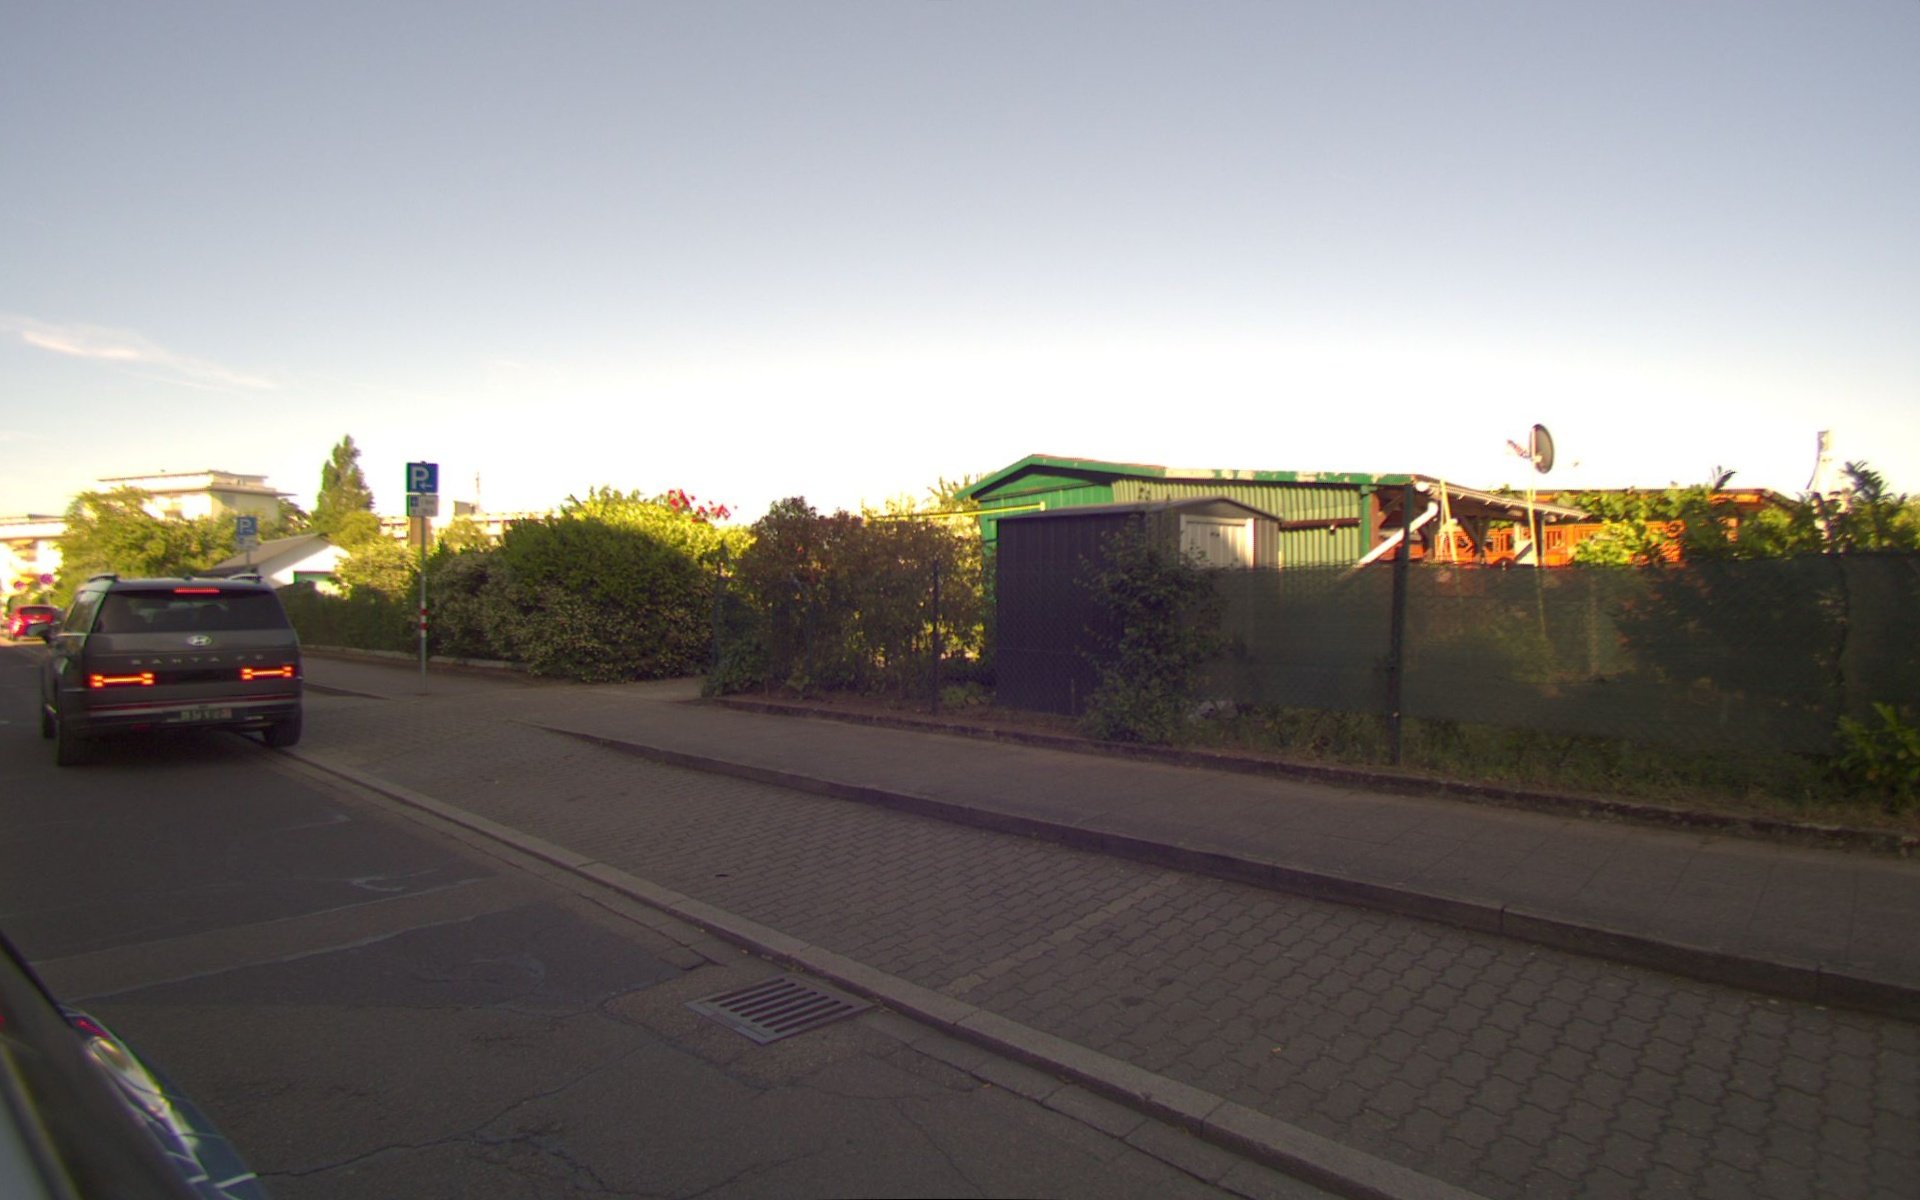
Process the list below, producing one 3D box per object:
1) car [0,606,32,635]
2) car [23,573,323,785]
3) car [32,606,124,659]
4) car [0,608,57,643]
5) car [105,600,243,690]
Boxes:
[{"bbox_3d":[-47.549,1.012,50.420,3.911,1.380,1.677,-1,0,44],"label":"car"},{"bbox_3d":[-8.495,0.693,10.729,1.920,1.740,4.841,2,-2,-45],"label":"car"},{"bbox_3d":[-27.141,0.950,31.103,4.518,1.434,1.677,-1,2,44],"label":"car"},{"bbox_3d":[-40.314,1.059,43.653,4.387,1.440,1.677,-1,0,44],"label":"car"},{"bbox_3d":[-14.604,0.772,18.750,3.402,1.499,1.511,-1,0,44],"label":"car"}]
